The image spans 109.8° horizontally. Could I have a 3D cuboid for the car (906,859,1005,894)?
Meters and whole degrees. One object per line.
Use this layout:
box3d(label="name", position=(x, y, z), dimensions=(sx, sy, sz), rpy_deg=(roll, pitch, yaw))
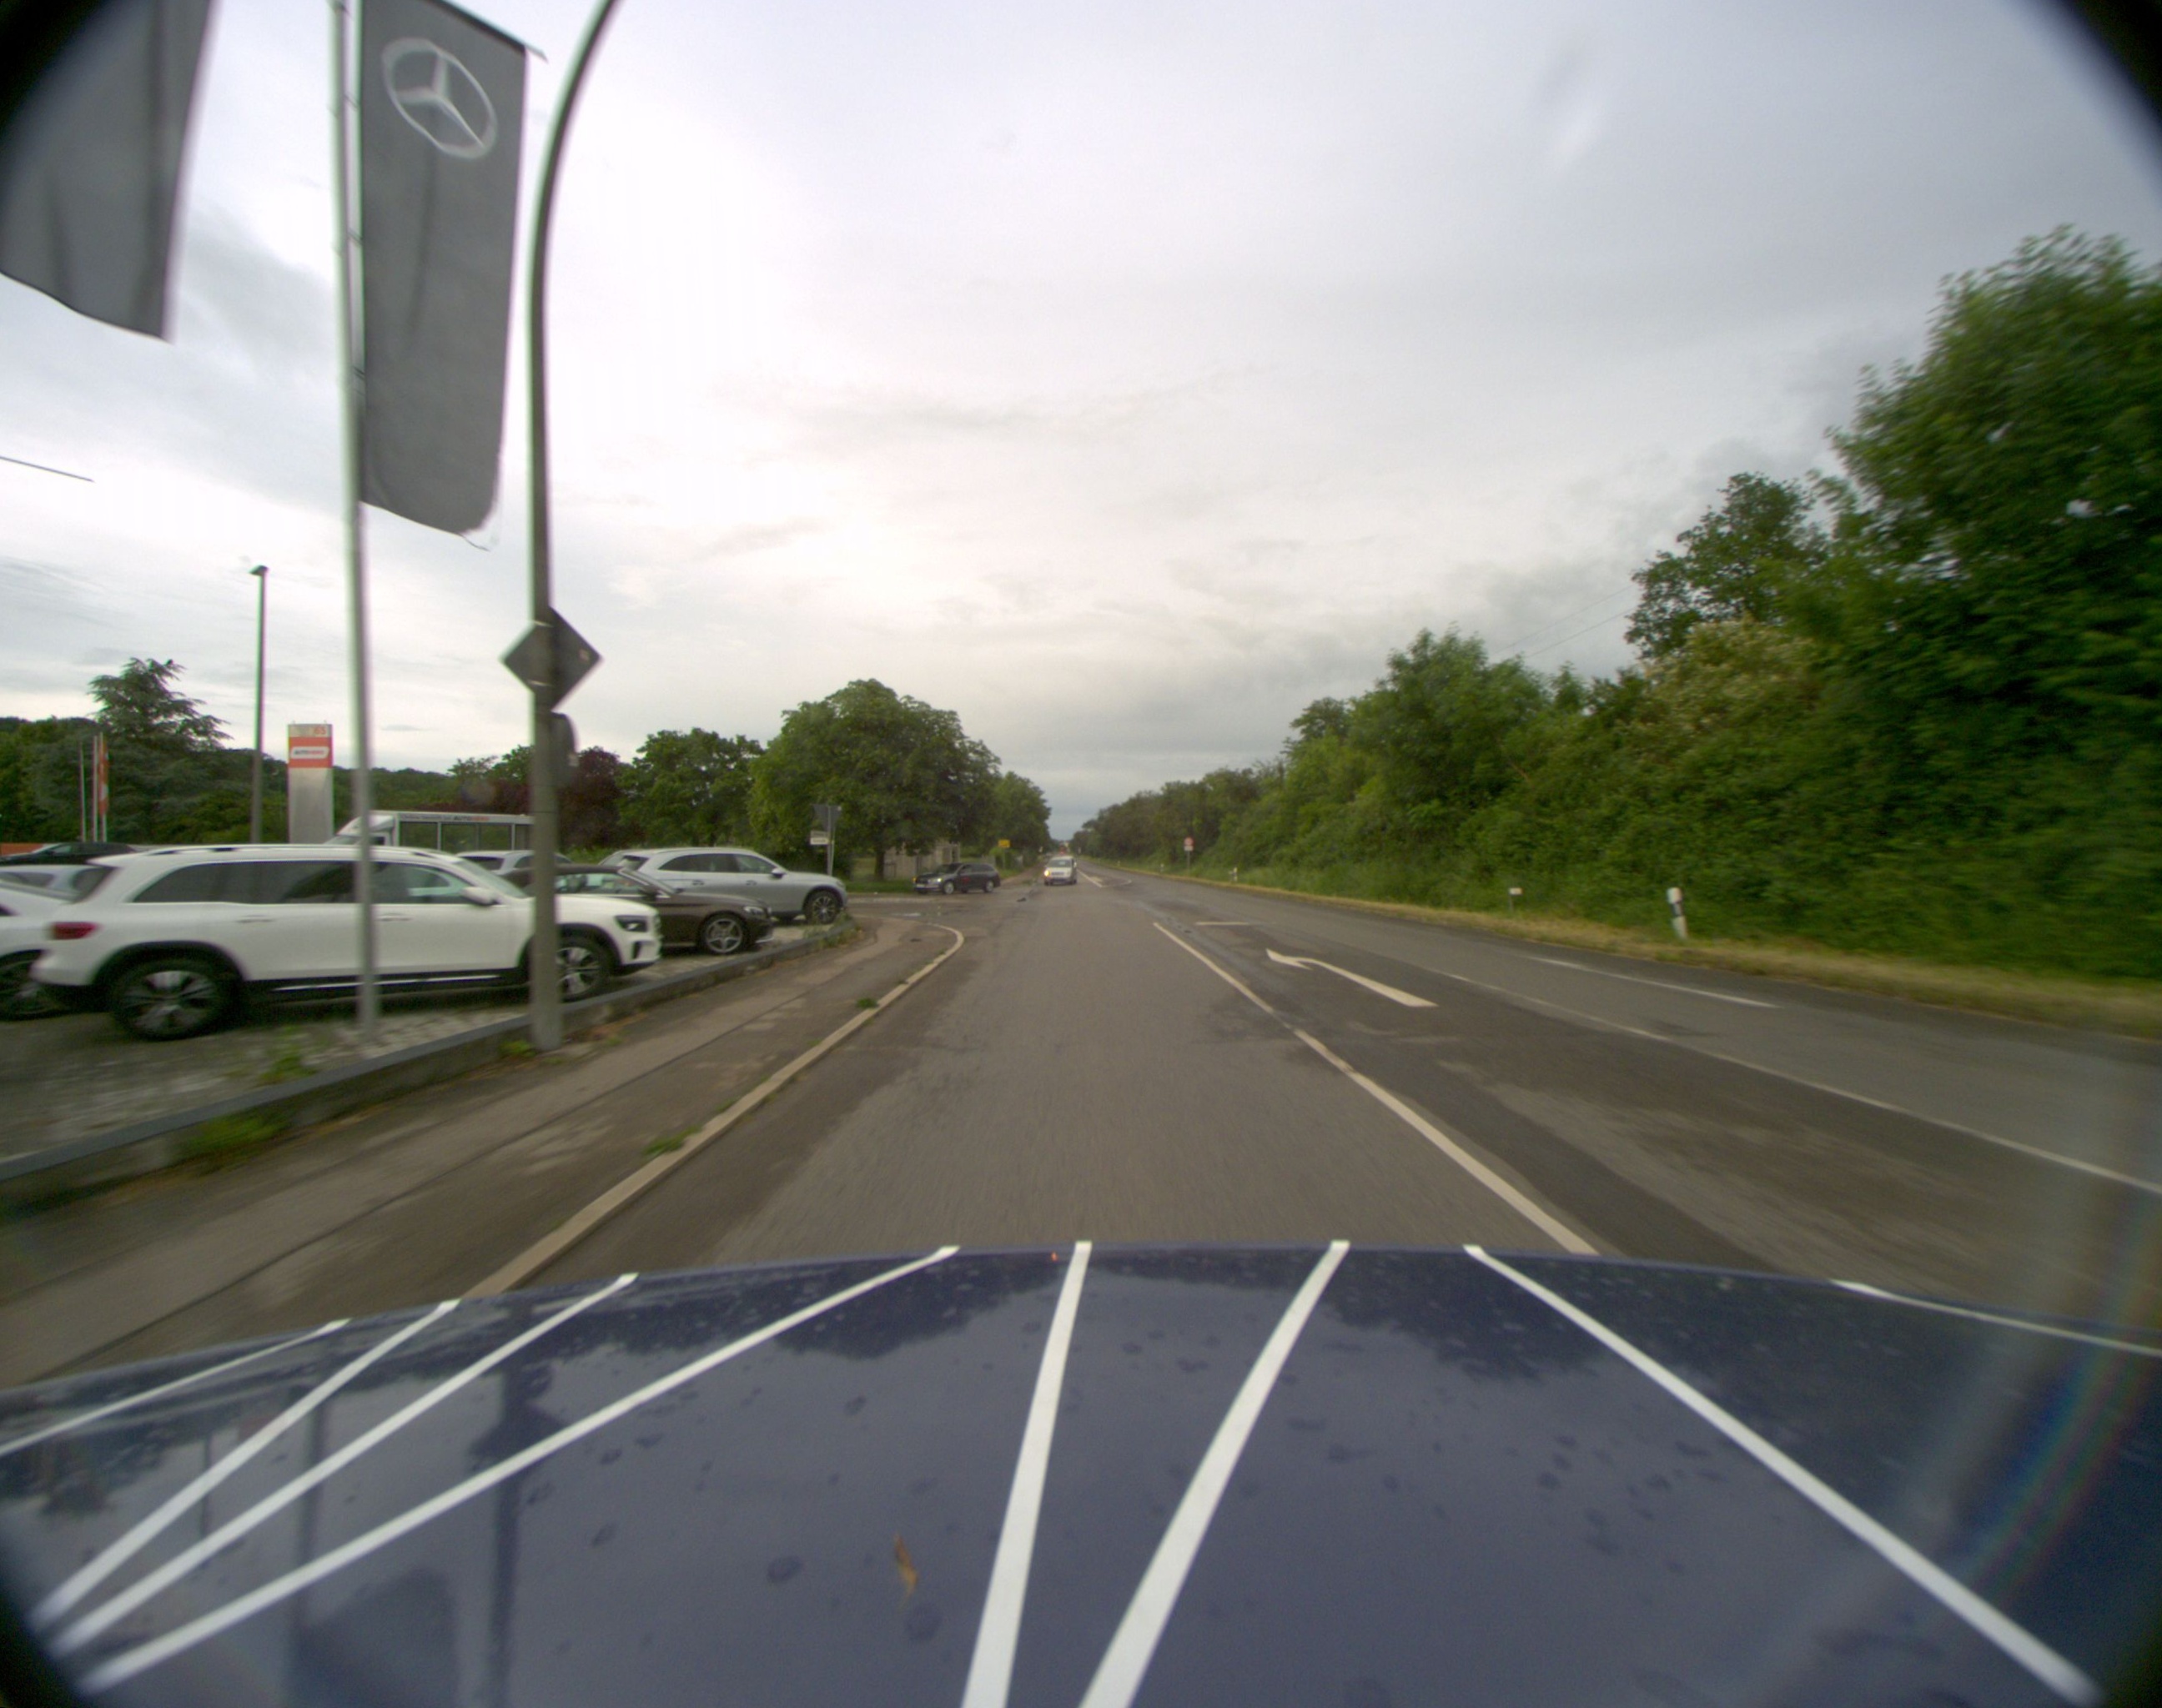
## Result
box3d(label="car", position=(-5.667, 0.995, 34.762), dimensions=(1.793, 1.443, 4.268), rpy_deg=(-1, 0, 42))

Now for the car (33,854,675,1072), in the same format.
box3d(label="car", position=(-6.929, 0.865, 8.029), dimensions=(4.435, 1.643, 1.922), rpy_deg=(-1, 1, -34))

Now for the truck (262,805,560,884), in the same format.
box3d(label="truck", position=(-26.328, -0.471, 30.606), dimensions=(2.783, 2.608, 8.486), rpy_deg=(-3, 1, 23))

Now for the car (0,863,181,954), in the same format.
box3d(label="car", position=(-18.045, 0.918, 13.970), dimensions=(3.989, 1.425, 1.776), rpy_deg=(-1, -1, 42))

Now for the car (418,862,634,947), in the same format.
box3d(label="car", position=(-13.227, 1.115, 18.558), dimensions=(2.027, 1.666, 4.503), rpy_deg=(-2, 1, -2))

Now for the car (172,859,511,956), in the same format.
box3d(label="car", position=(-12.924, 0.850, 13.640), dimensions=(4.133, 1.451, 1.767), rpy_deg=(0, -1, -42))

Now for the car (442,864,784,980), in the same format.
box3d(label="car", position=(-6.919, 0.911, 11.695), dimensions=(4.148, 1.386, 1.847), rpy_deg=(-1, 1, -29))

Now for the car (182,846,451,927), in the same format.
box3d(label="car", position=(-16.000, 0.630, 16.362), dimensions=(2.076, 1.451, 4.759), rpy_deg=(-1, -1, -17))

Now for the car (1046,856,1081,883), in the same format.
box3d(label="car", position=(-1.012, 0.908, 45.609), dimensions=(1.998, 1.537, 4.000), rpy_deg=(-1, 0, 0))

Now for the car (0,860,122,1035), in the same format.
box3d(label="car", position=(-11.477, 0.972, 6.500), dimensions=(1.676, 1.447, 3.930), rpy_deg=(6, 7, 40))

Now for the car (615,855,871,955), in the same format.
box3d(label="car", position=(-6.858, 0.928, 15.782), dimensions=(1.961, 1.661, 4.373), rpy_deg=(-1, 1, 42))

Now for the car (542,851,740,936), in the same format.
box3d(label="car", position=(-10.108, 0.807, 17.998), dimensions=(1.812, 1.663, 4.709), rpy_deg=(-2, 1, 1))
